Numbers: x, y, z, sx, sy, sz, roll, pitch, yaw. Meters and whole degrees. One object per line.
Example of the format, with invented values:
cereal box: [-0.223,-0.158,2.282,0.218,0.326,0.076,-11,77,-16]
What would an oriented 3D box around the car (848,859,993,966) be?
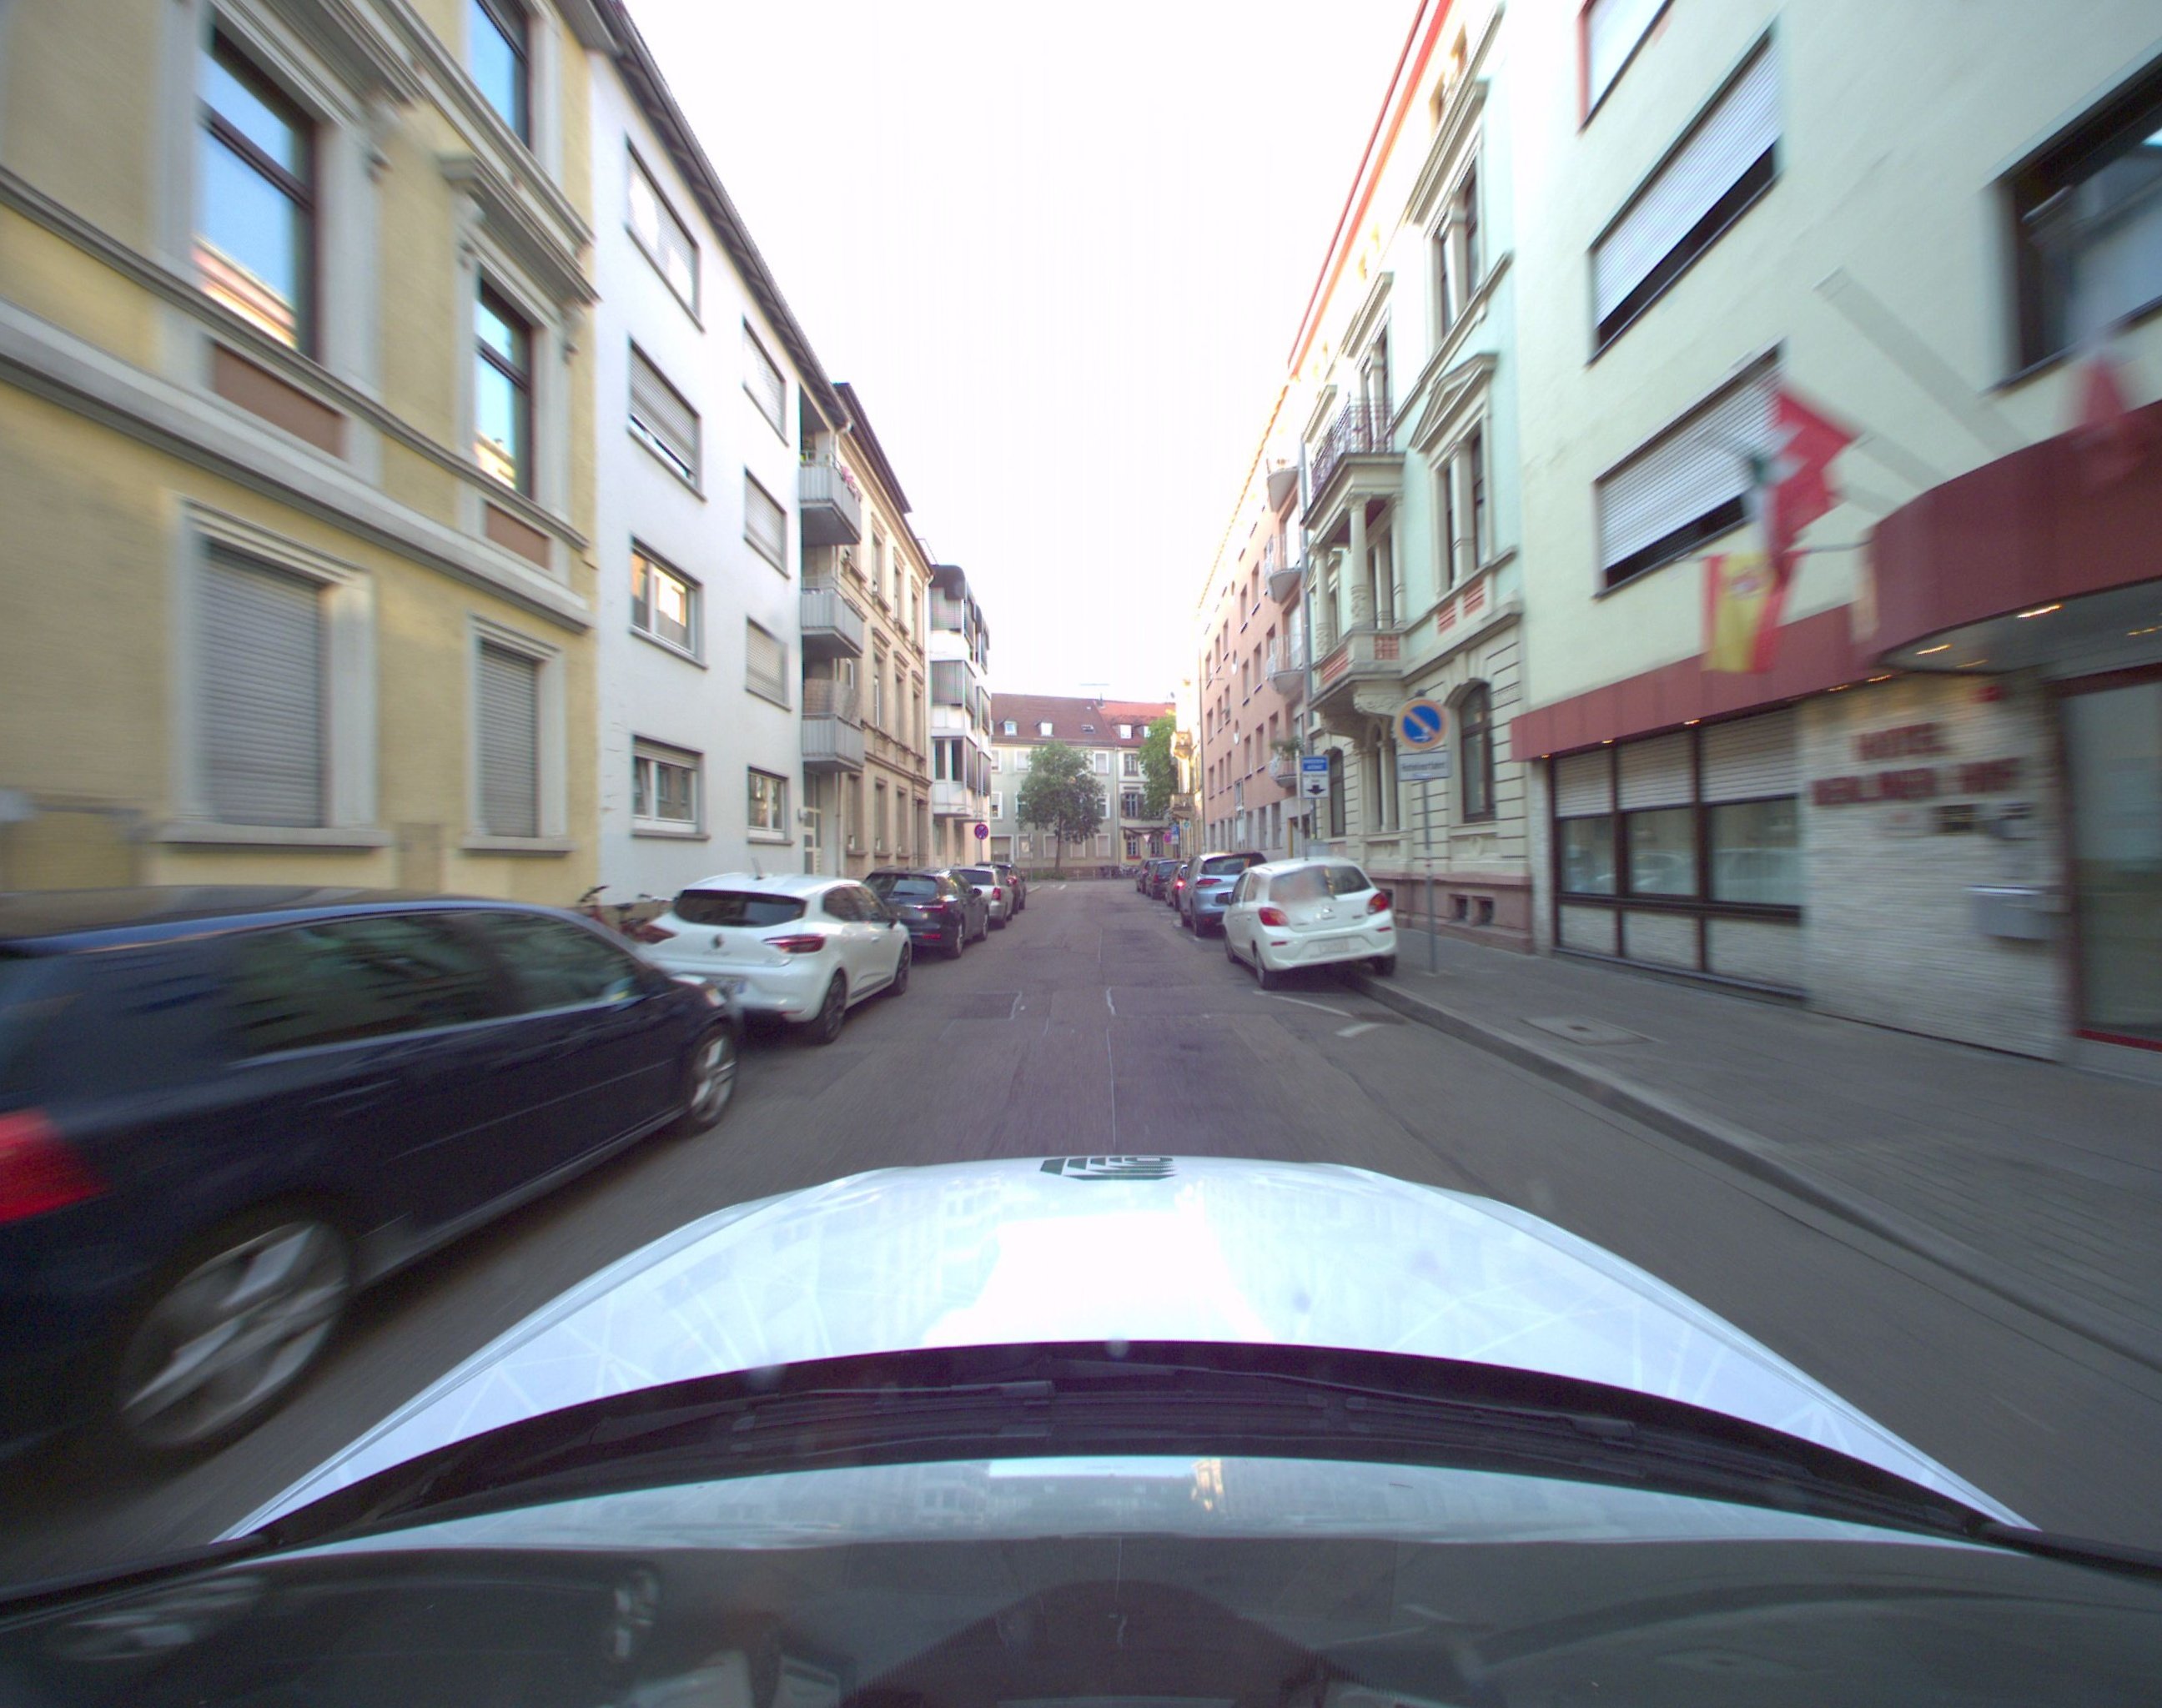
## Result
car: [-2.680,0.909,14.567,1.609,1.570,4.304,-1,0,1]

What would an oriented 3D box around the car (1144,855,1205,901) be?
car: [3.709,0.933,33.067,1.987,1.709,3.999,-2,-1,0]

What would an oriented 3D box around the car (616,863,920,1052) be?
car: [-2.925,0.865,8.520,1.624,1.472,3.755,-1,0,1]

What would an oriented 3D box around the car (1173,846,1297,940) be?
car: [3.152,0.760,17.494,1.986,1.732,4.061,-1,-1,2]

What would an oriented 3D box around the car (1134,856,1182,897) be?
car: [3.568,1.025,38.165,1.986,1.761,4.002,-2,-1,2]

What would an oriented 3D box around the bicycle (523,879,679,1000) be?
bicycle: [-5.538,0.922,9.568,0.521,1.200,2.123,-2,-1,0]

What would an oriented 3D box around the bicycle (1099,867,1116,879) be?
bicycle: [2.278,1.623,70.079,0.521,0.949,1.707,0,-2,-32]

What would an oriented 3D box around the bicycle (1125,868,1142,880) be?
bicycle: [4.439,1.711,69.228,0.521,0.949,1.707,-2,-1,-32]

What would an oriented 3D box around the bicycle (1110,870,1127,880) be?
bicycle: [3.179,1.771,68.601,0.521,0.894,1.707,0,-1,-32]

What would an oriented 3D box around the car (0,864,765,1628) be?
car: [-3.018,0.836,3.479,1.722,1.509,3.831,-1,0,1]

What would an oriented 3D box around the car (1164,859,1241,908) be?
car: [3.777,0.934,25.839,1.986,1.384,3.708,-2,-2,2]

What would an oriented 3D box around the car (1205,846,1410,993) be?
car: [2.828,0.740,11.028,1.656,1.458,3.760,-7,0,1]

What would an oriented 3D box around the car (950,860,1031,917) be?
car: [-2.839,1.054,26.459,1.986,1.662,3.979,-2,-1,2]

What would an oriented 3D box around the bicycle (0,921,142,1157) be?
bicycle: [-5.629,0.936,3.555,0.532,1.119,2.131,-1,-1,2]

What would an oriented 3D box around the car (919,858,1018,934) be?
car: [-2.718,0.973,20.652,1.988,1.666,4.405,-1,-1,-2]
